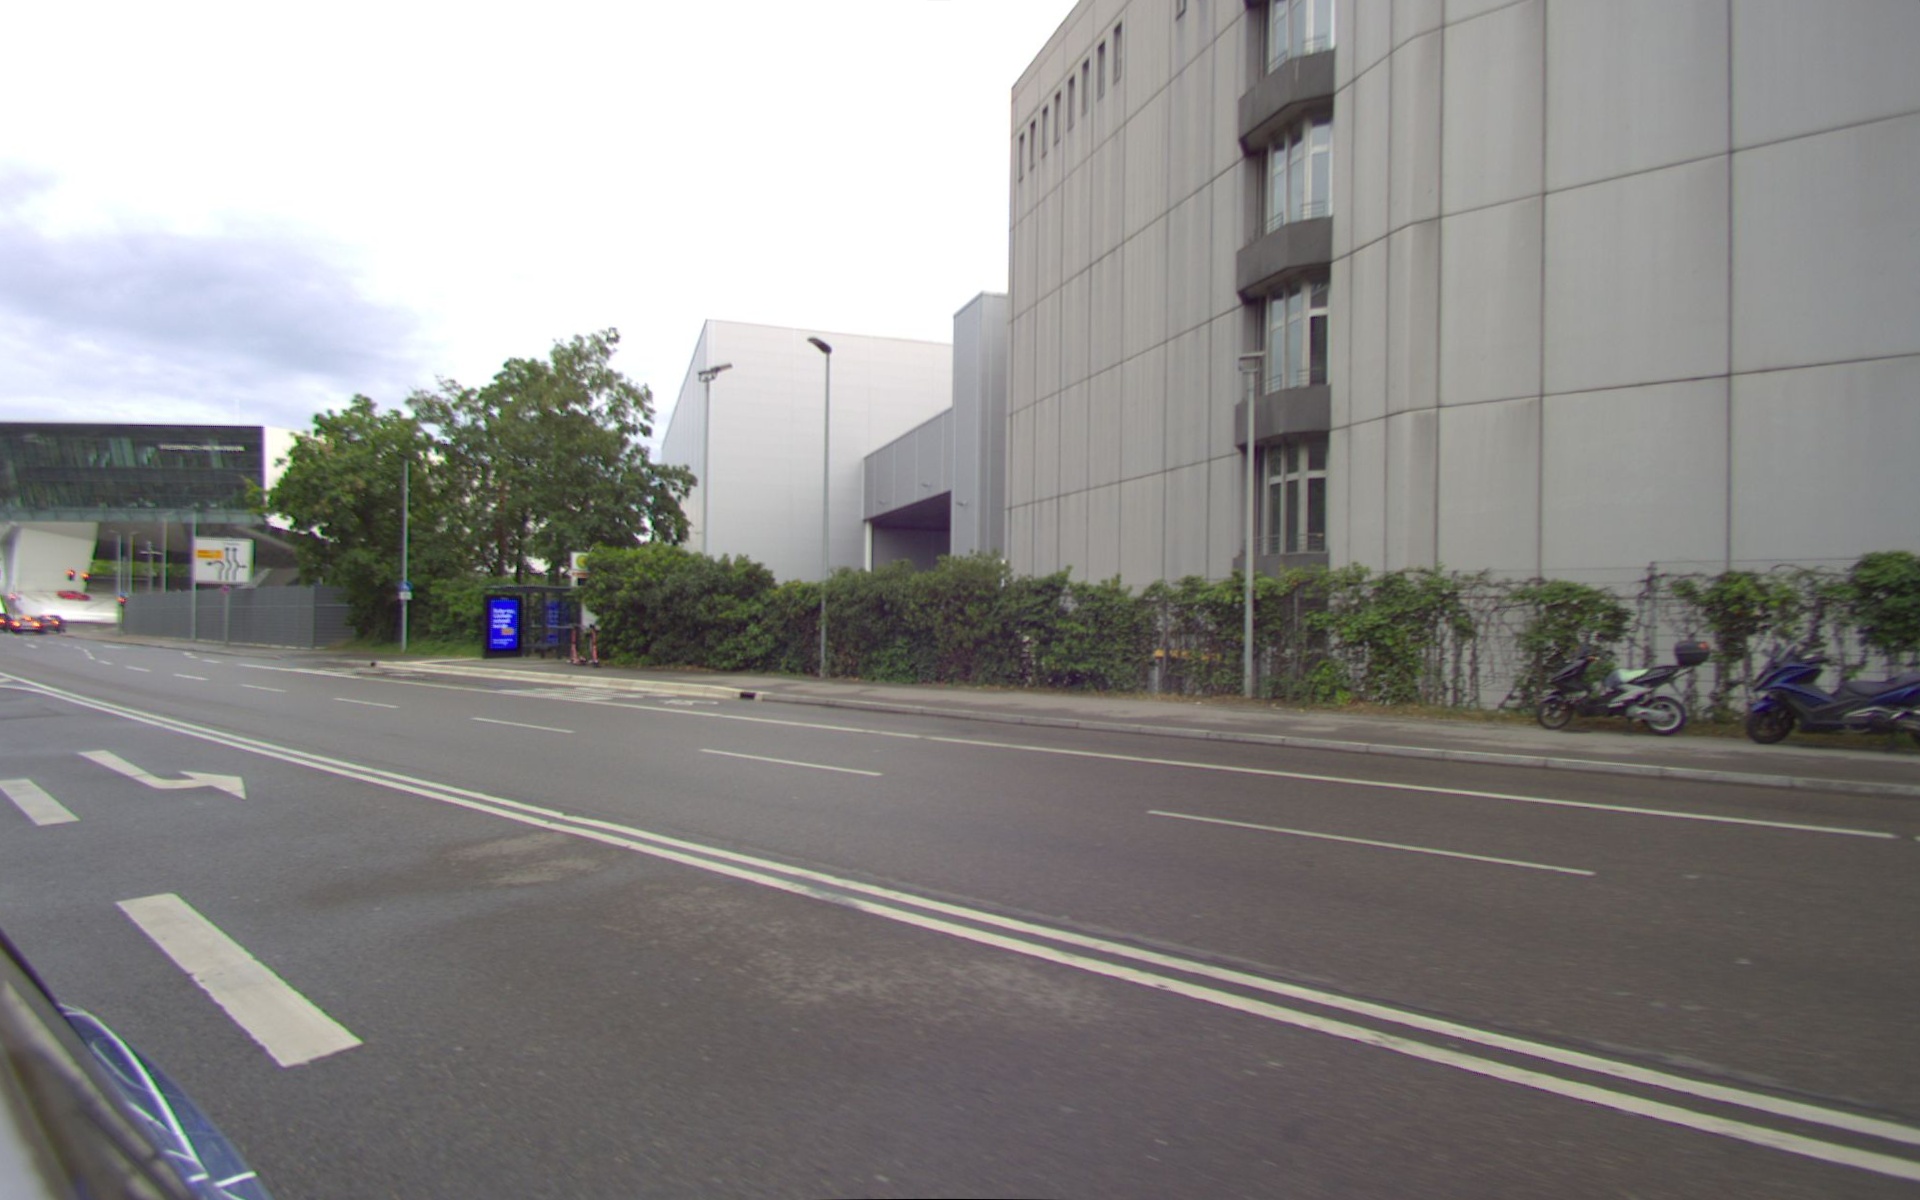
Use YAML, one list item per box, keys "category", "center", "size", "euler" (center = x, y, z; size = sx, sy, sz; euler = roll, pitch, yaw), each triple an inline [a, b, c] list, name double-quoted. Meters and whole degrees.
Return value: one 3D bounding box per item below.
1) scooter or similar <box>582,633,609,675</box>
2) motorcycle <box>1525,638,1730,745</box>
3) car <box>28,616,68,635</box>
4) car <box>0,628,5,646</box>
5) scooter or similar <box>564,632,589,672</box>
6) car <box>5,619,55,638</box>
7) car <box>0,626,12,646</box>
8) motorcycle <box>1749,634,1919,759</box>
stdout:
- category: "scooter or similar"
  center: [-10.742, 1.565, 29.815]
  size: [0.373, 1.190, 1.381]
  euler: [1, -2, -36]
- category: "motorcycle"
  center: [8.683, 1.145, 13.232]
  size: [2.156, 1.260, 0.776]
  euler: [-1, -2, 41]
- category: "car"
  center: [-79.926, 2.262, 88.709]
  size: [1.834, 1.663, 3.799]
  euler: [1, -2, -30]
- category: "car"
  center: [-79.077, 2.974, 81.567]
  size: [2.221, 1.488, 3.890]
  euler: [1, -2, -32]
- category: "scooter or similar"
  center: [-11.691, 1.571, 30.843]
  size: [0.383, 1.189, 1.253]
  euler: [1, -2, -36]
- category: "car"
  center: [-75.737, 2.308, 82.507]
  size: [2.233, 1.488, 4.059]
  euler: [1, -2, -32]
- category: "car"
  center: [-82.138, 3.005, 85.792]
  size: [1.850, 1.663, 3.863]
  euler: [1, -2, -33]
- category: "motorcycle"
  center: [10.566, 1.079, 11.592]
  size: [2.368, 1.358, 0.776]
  euler: [-1, -2, 41]
